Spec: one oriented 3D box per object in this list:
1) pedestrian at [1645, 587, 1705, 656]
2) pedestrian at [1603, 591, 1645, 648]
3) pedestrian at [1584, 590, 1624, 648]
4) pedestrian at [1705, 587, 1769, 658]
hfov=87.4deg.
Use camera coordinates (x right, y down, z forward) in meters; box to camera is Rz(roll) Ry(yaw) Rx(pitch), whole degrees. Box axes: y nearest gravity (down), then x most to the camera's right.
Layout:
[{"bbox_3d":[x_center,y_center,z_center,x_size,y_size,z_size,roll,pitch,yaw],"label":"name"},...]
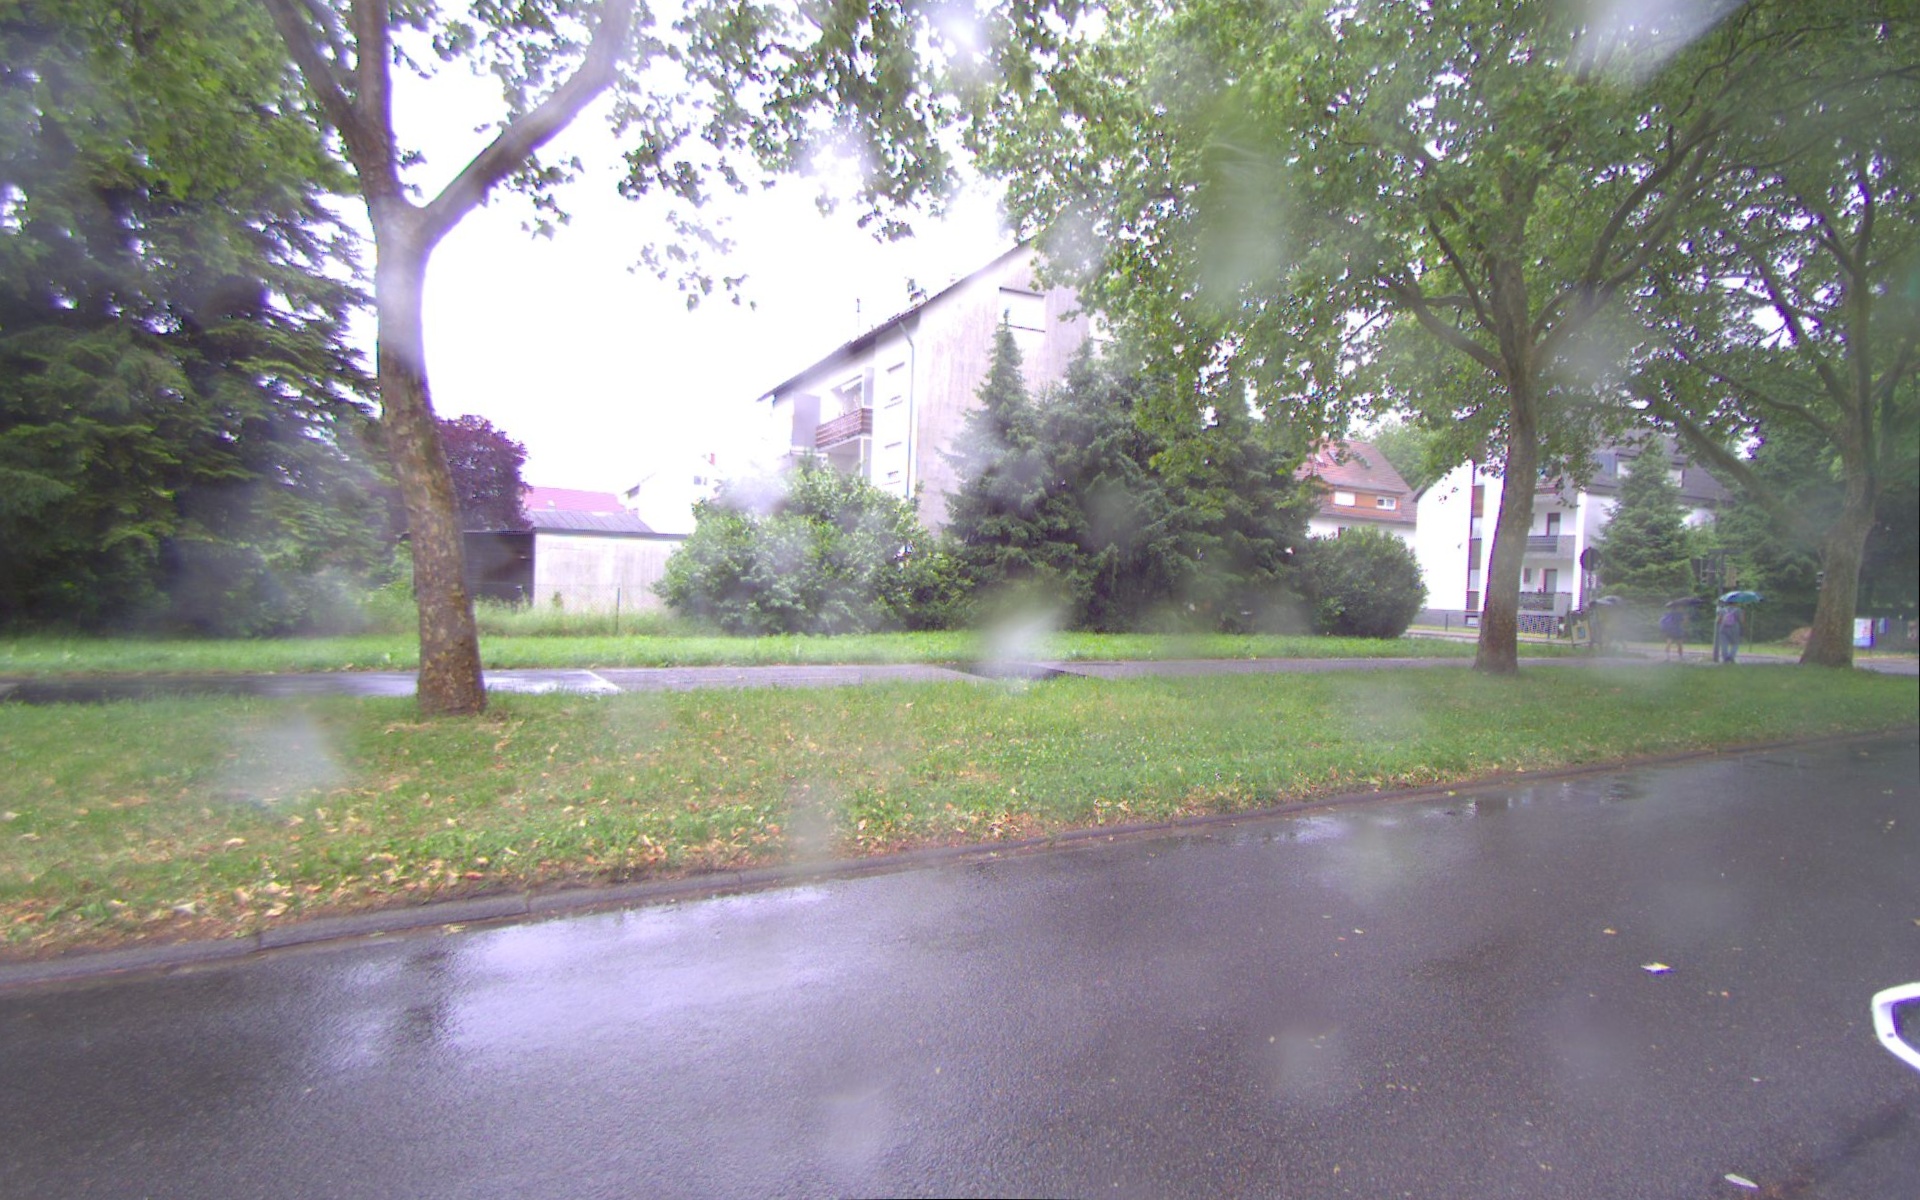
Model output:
[{"bbox_3d":[19.194,0.562,26.978,0.869,1.789,1.028,1,1,-30],"label":"pedestrian"},{"bbox_3d":[21.049,0.618,31.853,0.633,1.768,0.854,1,1,-33],"label":"pedestrian"},{"bbox_3d":[20.156,0.588,31.429,0.633,1.768,0.815,1,1,-33],"label":"pedestrian"},{"bbox_3d":[19.920,0.564,25.769,0.828,1.789,1.028,1,1,-30],"label":"pedestrian"}]
